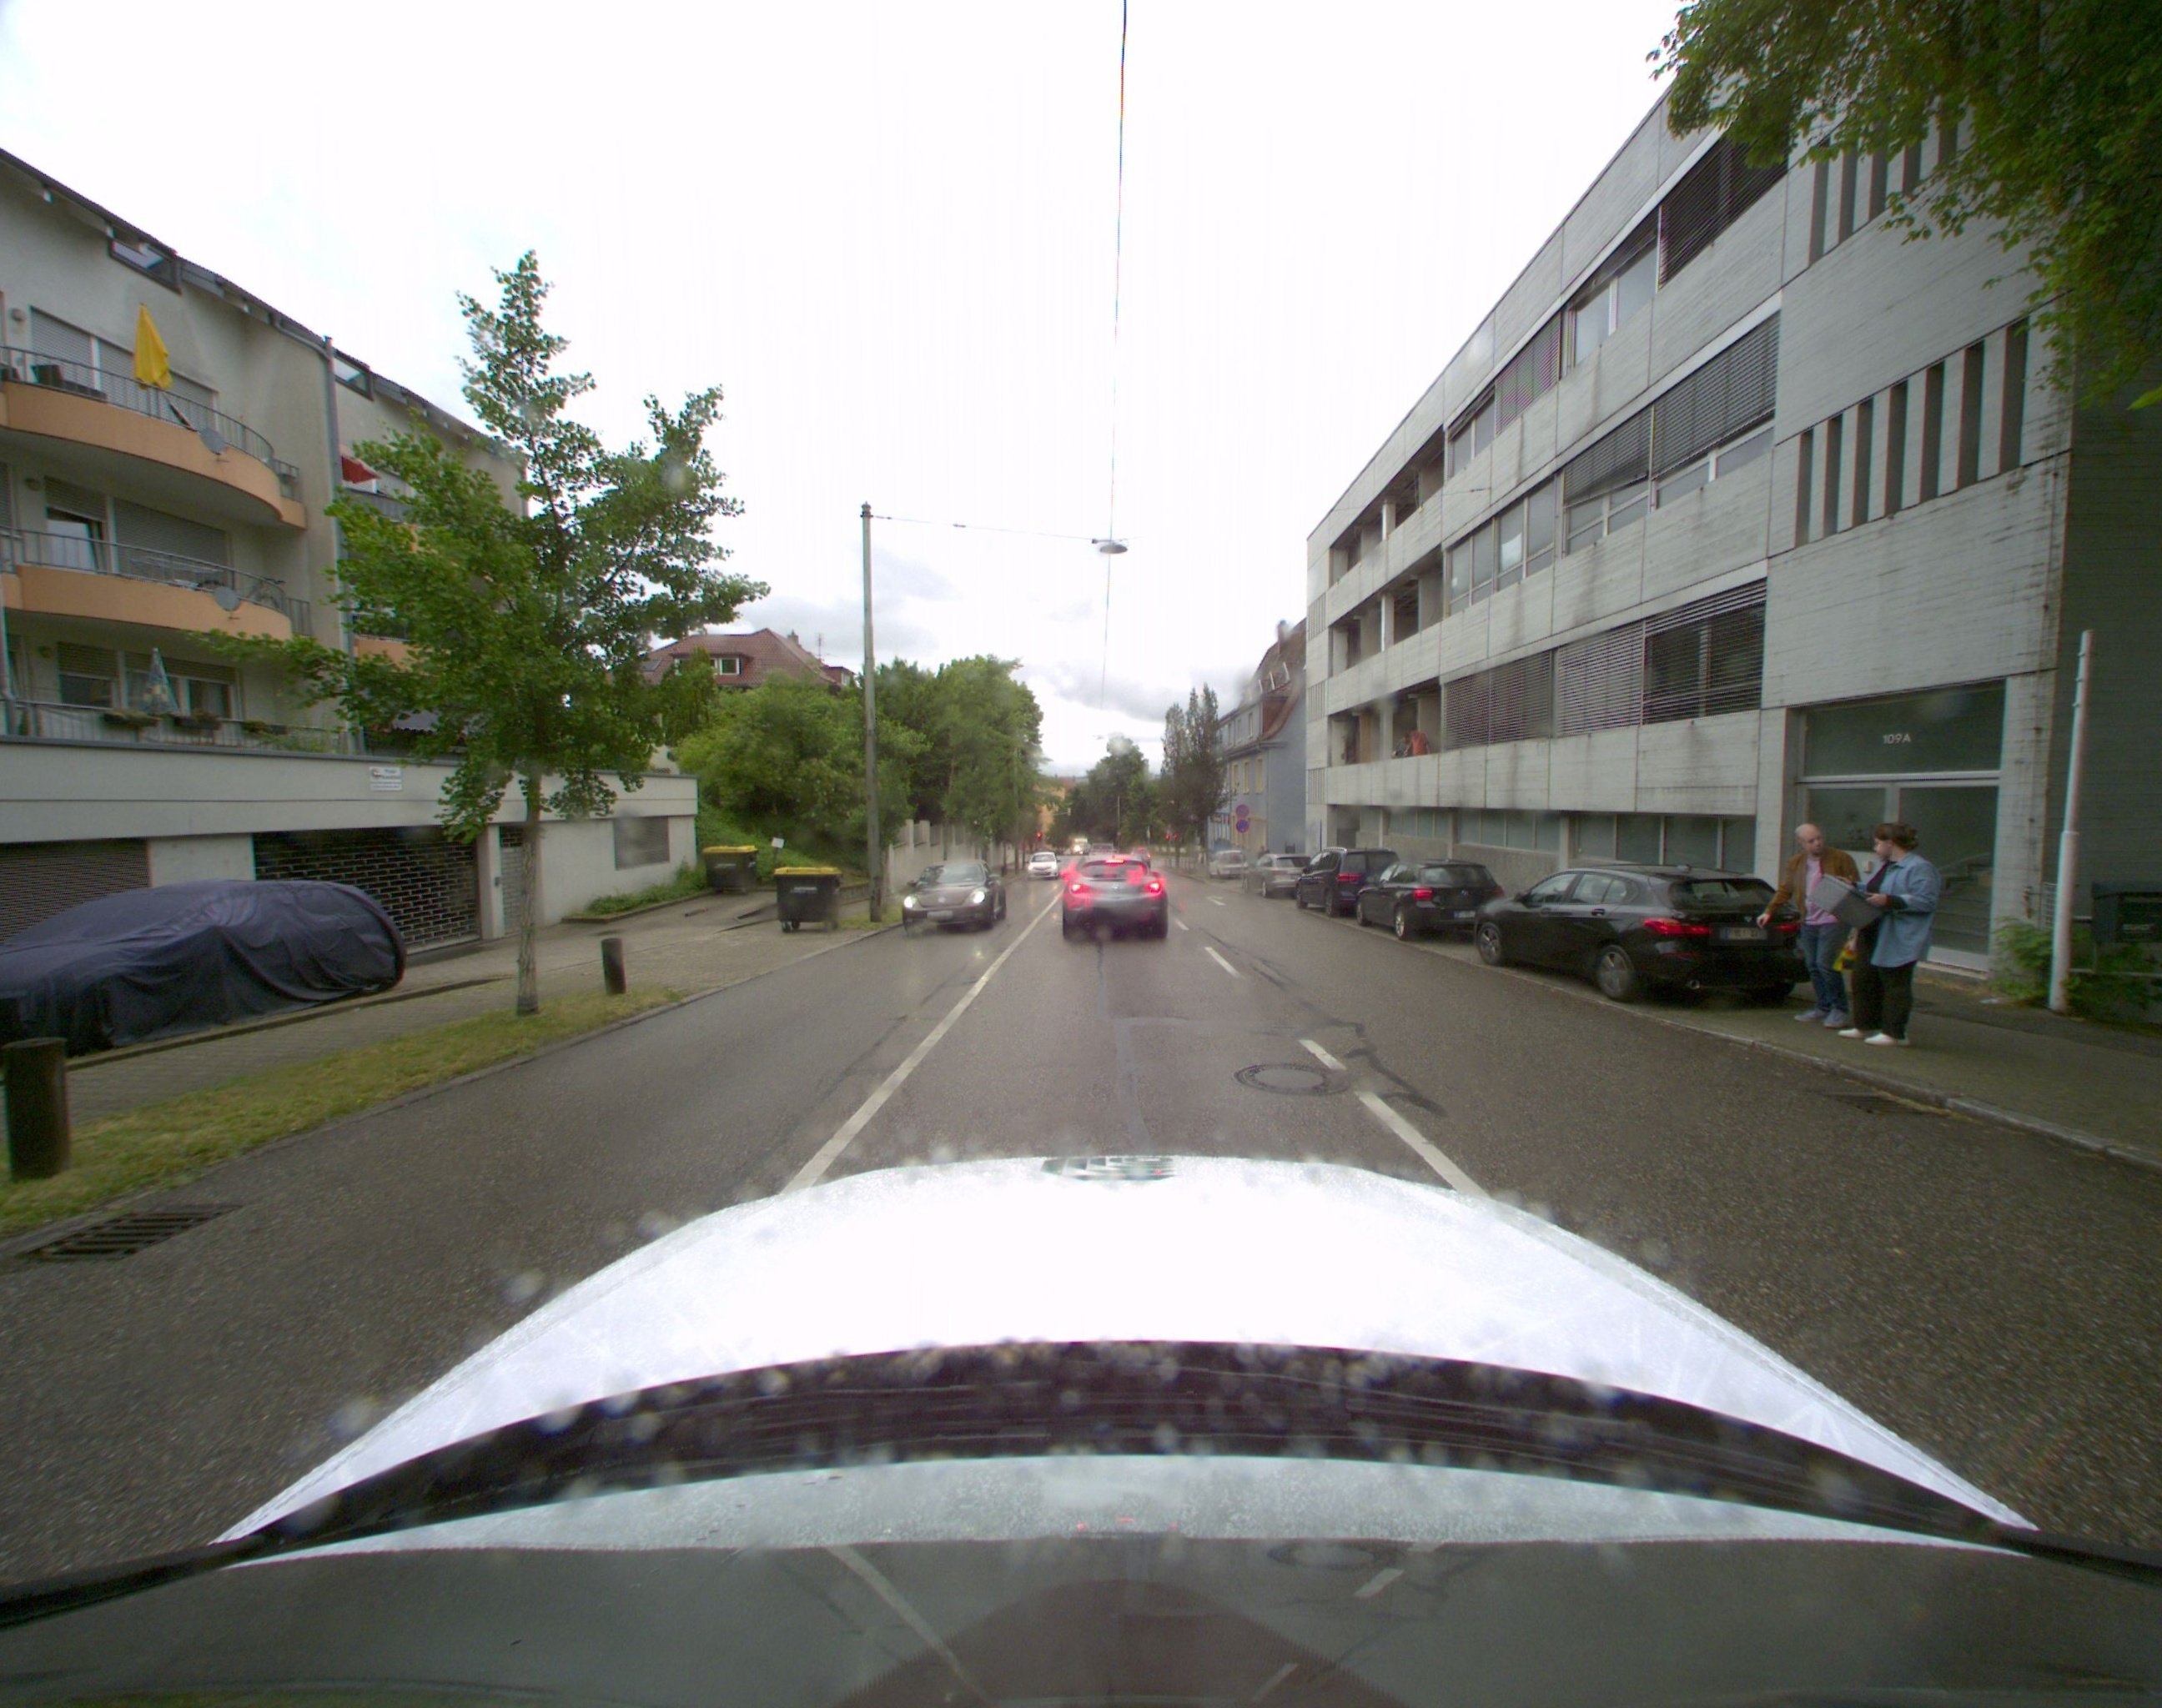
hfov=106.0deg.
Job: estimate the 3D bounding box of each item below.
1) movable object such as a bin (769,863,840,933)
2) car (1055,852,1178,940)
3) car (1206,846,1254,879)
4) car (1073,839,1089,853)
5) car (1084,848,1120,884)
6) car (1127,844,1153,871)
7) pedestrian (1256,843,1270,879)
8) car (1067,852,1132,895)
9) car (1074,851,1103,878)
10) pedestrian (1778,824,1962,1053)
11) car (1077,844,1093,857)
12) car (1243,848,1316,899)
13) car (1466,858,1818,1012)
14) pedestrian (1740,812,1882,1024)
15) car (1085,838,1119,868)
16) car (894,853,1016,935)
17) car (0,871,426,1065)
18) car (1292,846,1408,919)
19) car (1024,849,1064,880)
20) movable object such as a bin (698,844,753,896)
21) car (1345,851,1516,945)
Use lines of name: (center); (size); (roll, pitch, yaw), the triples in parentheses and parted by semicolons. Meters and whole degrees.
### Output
movable object such as a bin: (-5.666, 0.888, 16.717); (1.268, 1.387, 0.488); (1, 1, -2)
car: (0.533, 0.679, 15.319); (1.941, 1.432, 3.880); (0, 0, -3)
car: (7.758, 0.413, 42.715); (1.899, 1.570, 4.003); (-1, 1, 2)
car: (0.026, -1.180, 113.945); (1.986, 1.784, 4.002); (2, 1, 2)
car: (1.117, 0.610, 44.824); (1.763, 1.781, 3.975); (2, 1, -1)
car: (5.009, 0.260, 69.737); (1.986, 2.036, 4.737); (2, 1, 1)
pedestrian: (9.090, 0.366, 40.679); (0.643, 1.784, 0.542); (0, 1, 2)
car: (0.554, 0.614, 27.400); (1.794, 1.323, 3.994); (1, 0, -4)
car: (0.460, 0.641, 54.002); (1.749, 1.651, 3.999); (2, 0, -1)
pedestrian: (6.318, 0.639, 6.571); (0.730, 1.723, 0.767); (-3, 1, 10)
car: (0.528, -0.493, 107.460); (1.986, 1.536, 4.311); (2, 1, 1)
car: (6.700, 0.604, 27.887); (1.578, 1.493, 4.292); (-1, 1, 2)
car: (6.382, 0.795, 9.883); (1.499, 1.435, 3.999); (-1, 0, 0)
pedestrian: (6.654, 0.562, 7.461); (0.659, 1.836, 0.691); (-3, 1, 11)
car: (1.594, -0.120, 61.183); (2.325, 2.036, 4.737); (2, 1, 1)
car: (-2.630, 0.782, 18.010); (1.843, 1.469, 4.090); (-4, 0, 2)
car: (-9.341, 1.011, 8.541); (1.736, 1.456, 3.882); (-4, 0, -1)
car: (6.577, 0.615, 20.330); (1.679, 1.570, 4.003); (-1, 1, 2)
car: (-2.039, 0.545, 45.684); (1.816, 1.479, 3.865); (-4, 1, 2)
movable object such as a bin: (-9.733, 0.420, 22.289); (1.268, 1.387, 0.488); (1, 1, -2)
car: (6.492, 0.724, 15.618); (1.675, 1.464, 4.003); (-1, 1, 2)
